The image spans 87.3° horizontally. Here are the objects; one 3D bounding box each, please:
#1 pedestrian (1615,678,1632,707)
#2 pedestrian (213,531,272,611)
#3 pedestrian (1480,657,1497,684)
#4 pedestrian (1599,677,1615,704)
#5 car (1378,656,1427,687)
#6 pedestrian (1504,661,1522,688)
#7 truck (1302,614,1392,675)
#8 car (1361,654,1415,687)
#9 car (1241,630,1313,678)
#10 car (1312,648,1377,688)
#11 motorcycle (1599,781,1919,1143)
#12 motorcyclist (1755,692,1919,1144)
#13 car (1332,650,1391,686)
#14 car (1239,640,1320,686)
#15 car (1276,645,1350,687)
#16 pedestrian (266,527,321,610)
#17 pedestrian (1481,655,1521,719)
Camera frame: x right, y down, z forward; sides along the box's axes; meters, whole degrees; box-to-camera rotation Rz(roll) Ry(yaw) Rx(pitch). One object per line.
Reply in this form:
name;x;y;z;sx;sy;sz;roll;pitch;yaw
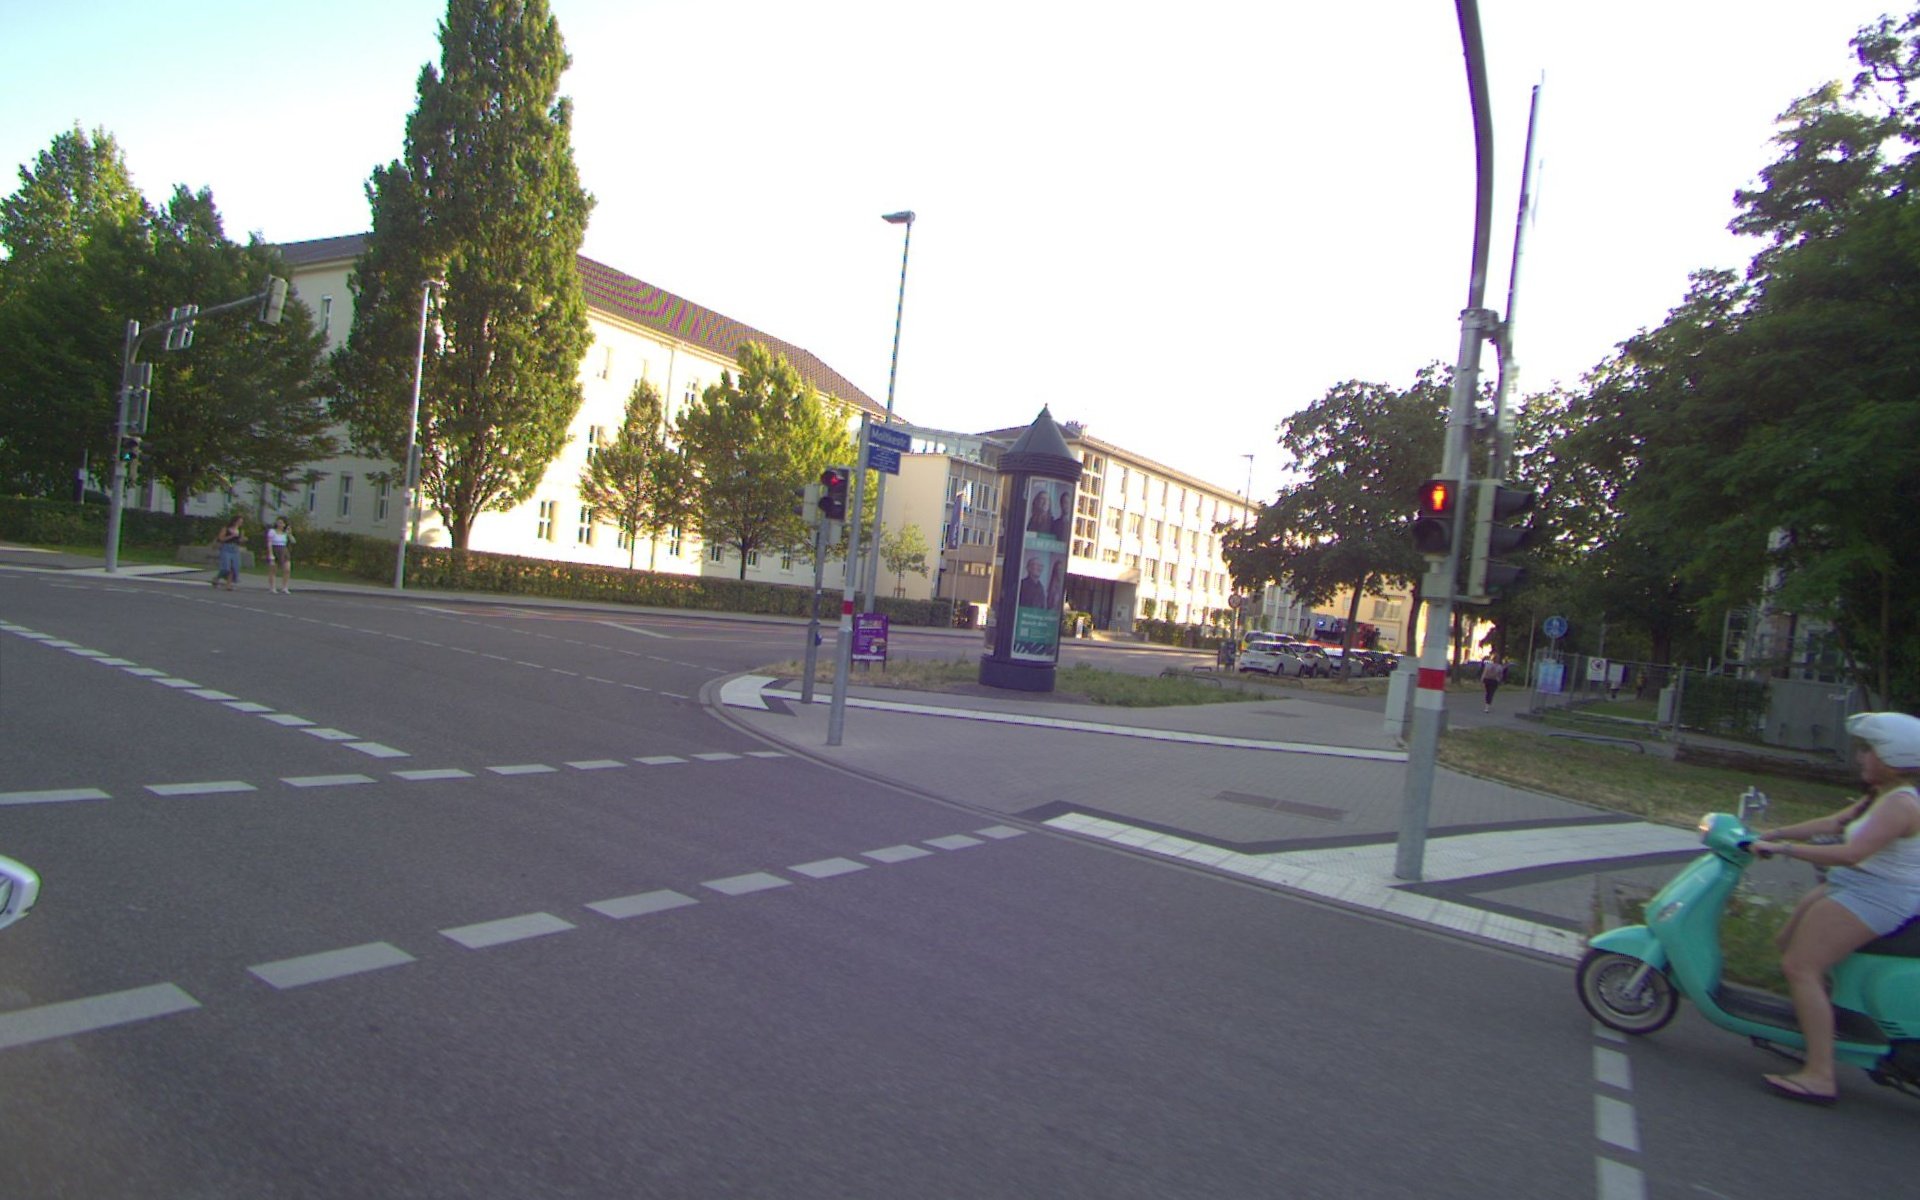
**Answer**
pedestrian;39.873;5.535;60.424;0.672;1.643;0.686;7;1;36
pedestrian;-15.821;-0.646;22.194;0.831;1.643;0.681;7;2;32
pedestrian;34.267;4.578;65.250;0.679;1.643;0.679;7;1;44
pedestrian;41.449;5.779;64.400;0.672;1.643;0.686;7;1;36
car;27.803;4.471;63.148;1.969;1.660;3.987;6;0;35
pedestrian;35.476;4.775;64.521;0.679;1.643;0.679;7;1;44
truck;24.213;2.876;62.528;2.600;3.179;10.243;6;0;35
car;24.880;4.100;58.470;1.969;1.660;3.987;6;0;35
car;15.878;2.733;50.220;2.024;1.884;4.486;6;-2;35
car;19.168;3.389;50.106;1.969;1.660;3.987;6;0;35
motorcycle;4.016;1.606;4.434;1.865;1.212;0.682;7;0;38
motorcyclist;4.053;1.332;4.431;0.680;1.758;0.738;7;1;38
car;21.935;3.731;54.861;1.969;1.660;3.987;6;0;35
car;13.527;2.679;42.466;1.873;1.660;3.983;6;0;38
car;16.227;3.056;46.147;1.970;1.632;3.985;6;0;37
pedestrian;-15.079;-0.714;22.766;0.677;1.776;0.681;7;2;31
pedestrian;15.808;2.533;29.378;0.694;1.761;0.892;7;1;40
